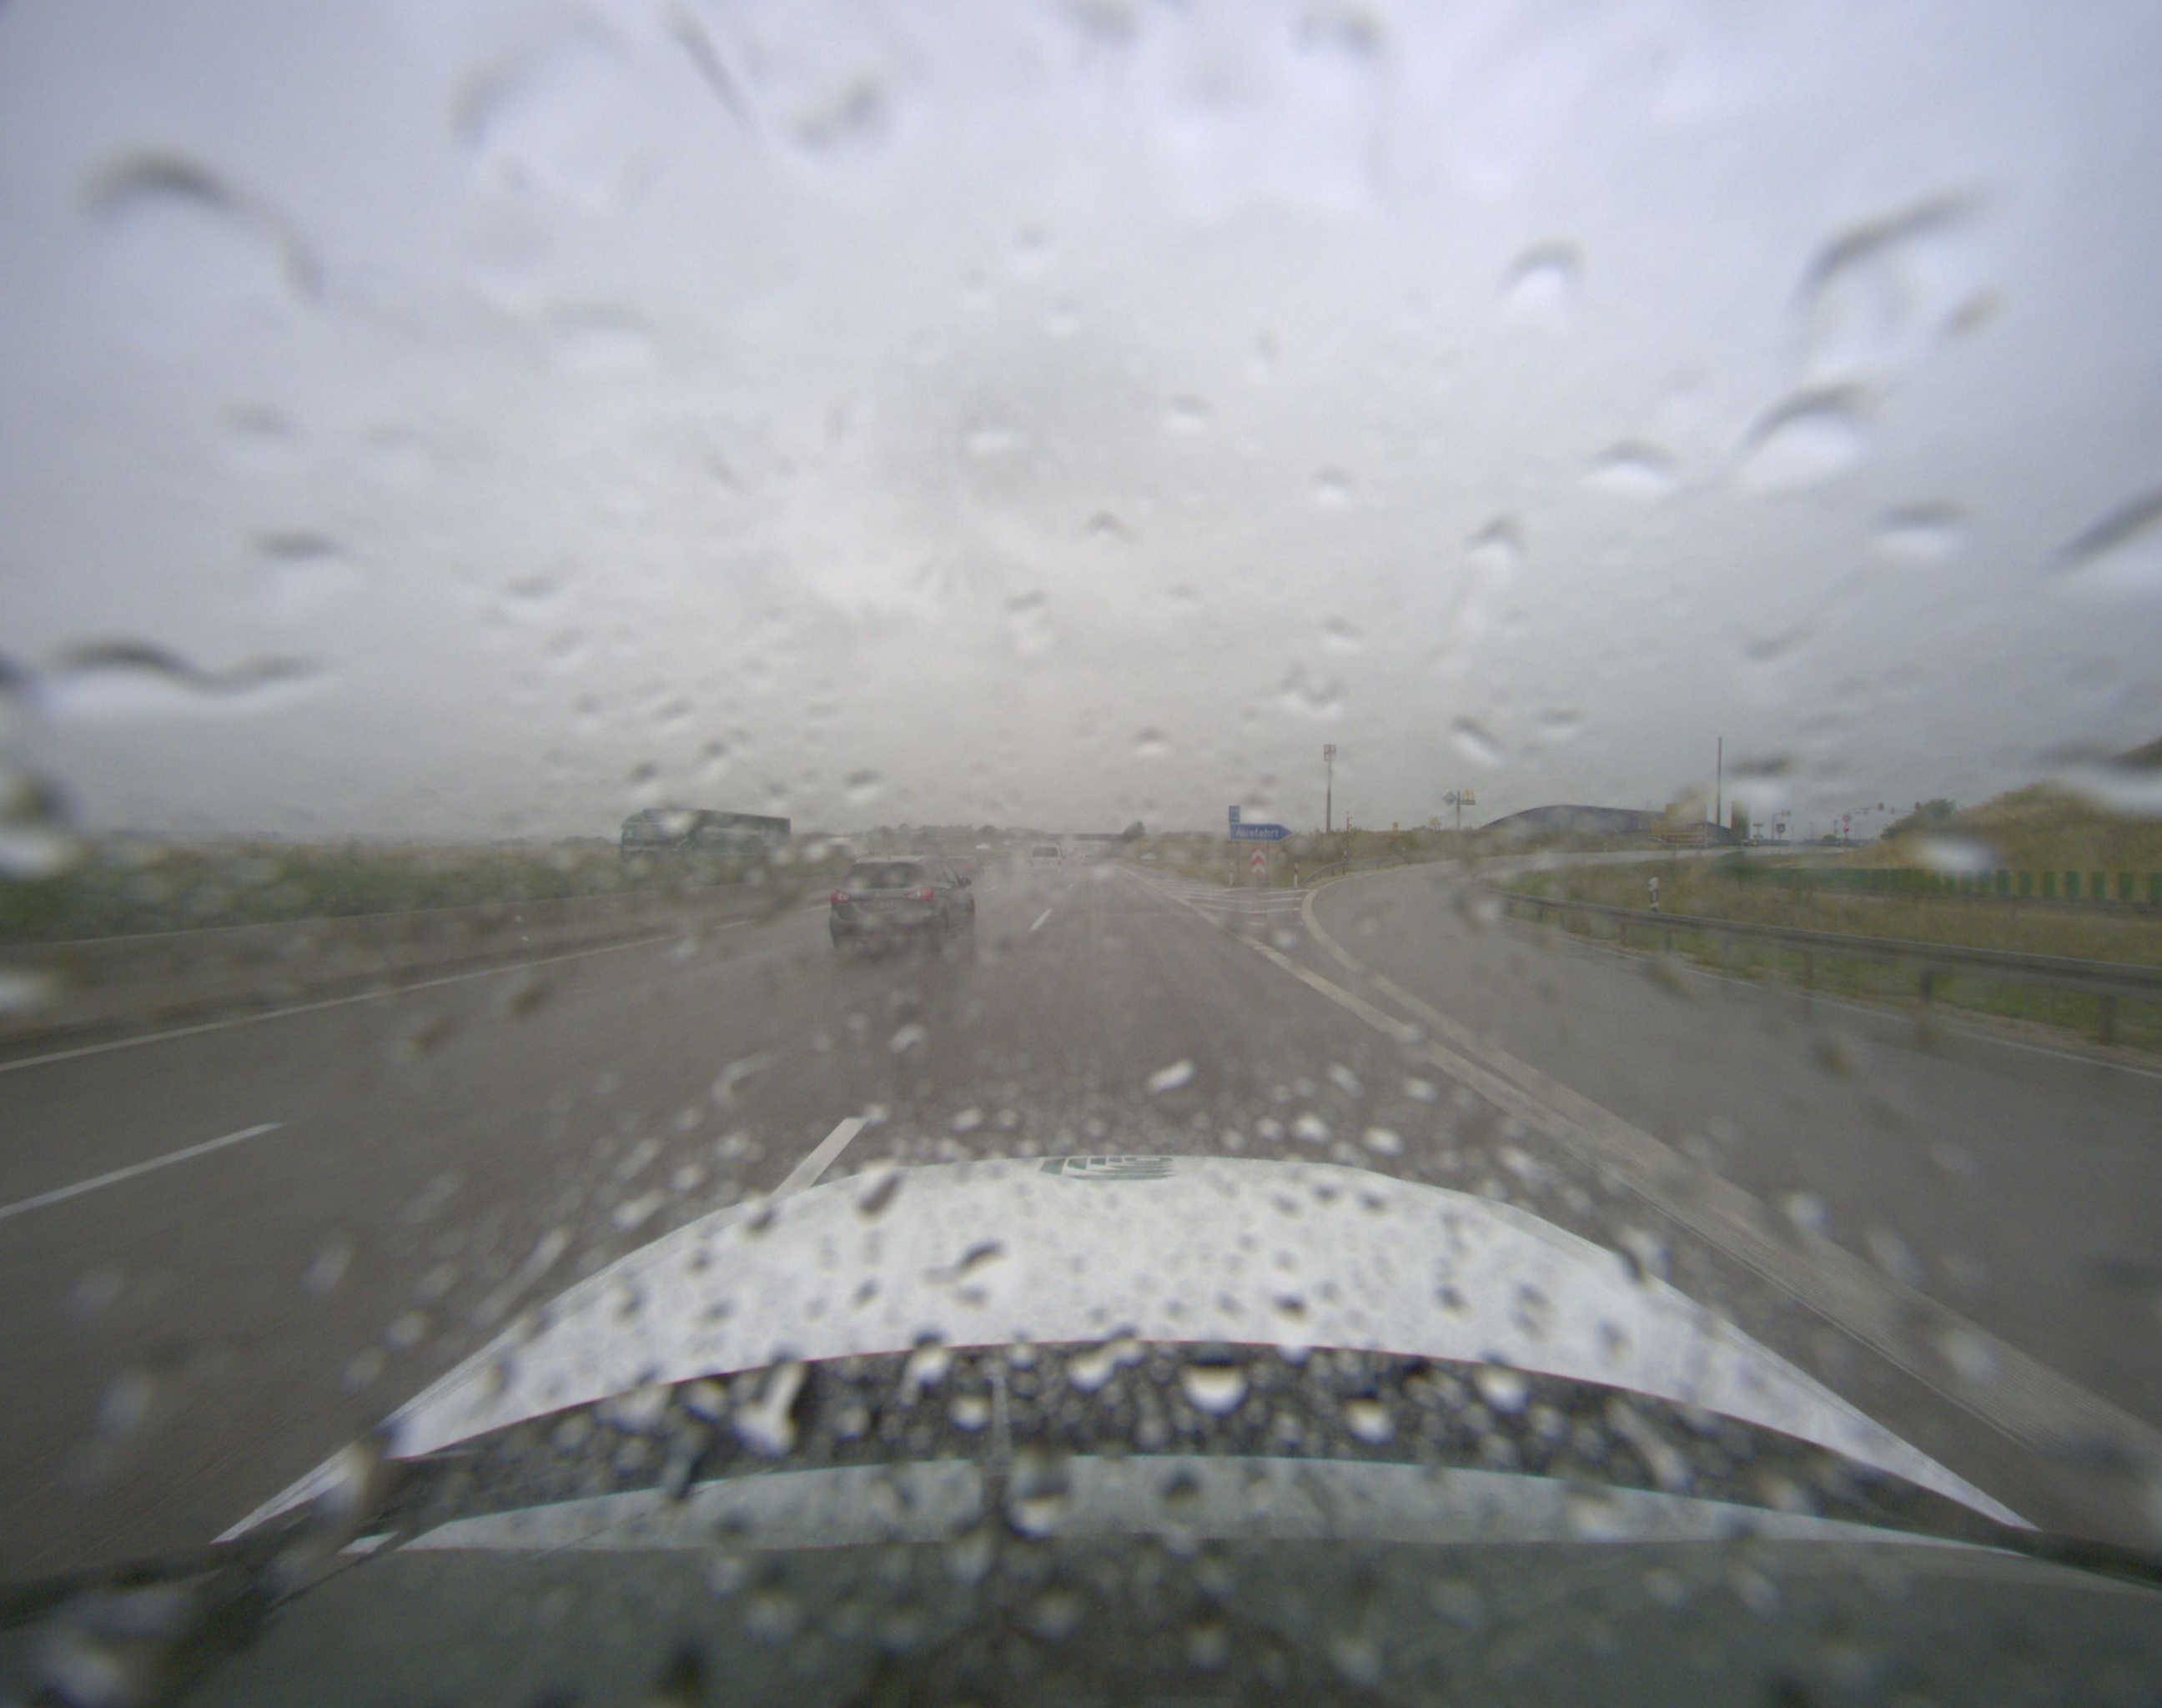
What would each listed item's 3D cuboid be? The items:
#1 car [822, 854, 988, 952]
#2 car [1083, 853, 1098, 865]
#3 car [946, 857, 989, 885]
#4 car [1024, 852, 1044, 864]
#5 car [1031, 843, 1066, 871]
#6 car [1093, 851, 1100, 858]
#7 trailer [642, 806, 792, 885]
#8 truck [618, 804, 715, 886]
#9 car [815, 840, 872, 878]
[{"bbox_3d":[-3.011,0.763,15.073,1.839,1.513,4.759,-1,0,2],"label":"car"},{"bbox_3d":[1.004,0.523,85.021,1.462,1.208,2.993,0,0,3],"label":"car"},{"bbox_3d":[-5.881,0.868,42.586,1.607,1.354,4.000,0,0,1],"label":"car"},{"bbox_3d":[-5.142,0.461,89.075,1.459,1.257,3.348,-1,0,9],"label":"car"},{"bbox_3d":[-1.876,0.195,47.714,1.891,1.585,3.999,0,0,0],"label":"car"},{"bbox_3d":[4.635,0.239,244.106,1.989,2.101,3.996,1,1,-3],"label":"car"},{"bbox_3d":[-21.041,-0.426,48.547,2.216,3.997,14.211,0,0,1],"label":"trailer"},{"bbox_3d":[-21.209,-0.421,41.990,2.205,3.983,5.186,0,0,1],"label":"truck"},{"bbox_3d":[-17.435,0.352,60.041,2.490,2.706,6.203,0,0,-1],"label":"car"}]
